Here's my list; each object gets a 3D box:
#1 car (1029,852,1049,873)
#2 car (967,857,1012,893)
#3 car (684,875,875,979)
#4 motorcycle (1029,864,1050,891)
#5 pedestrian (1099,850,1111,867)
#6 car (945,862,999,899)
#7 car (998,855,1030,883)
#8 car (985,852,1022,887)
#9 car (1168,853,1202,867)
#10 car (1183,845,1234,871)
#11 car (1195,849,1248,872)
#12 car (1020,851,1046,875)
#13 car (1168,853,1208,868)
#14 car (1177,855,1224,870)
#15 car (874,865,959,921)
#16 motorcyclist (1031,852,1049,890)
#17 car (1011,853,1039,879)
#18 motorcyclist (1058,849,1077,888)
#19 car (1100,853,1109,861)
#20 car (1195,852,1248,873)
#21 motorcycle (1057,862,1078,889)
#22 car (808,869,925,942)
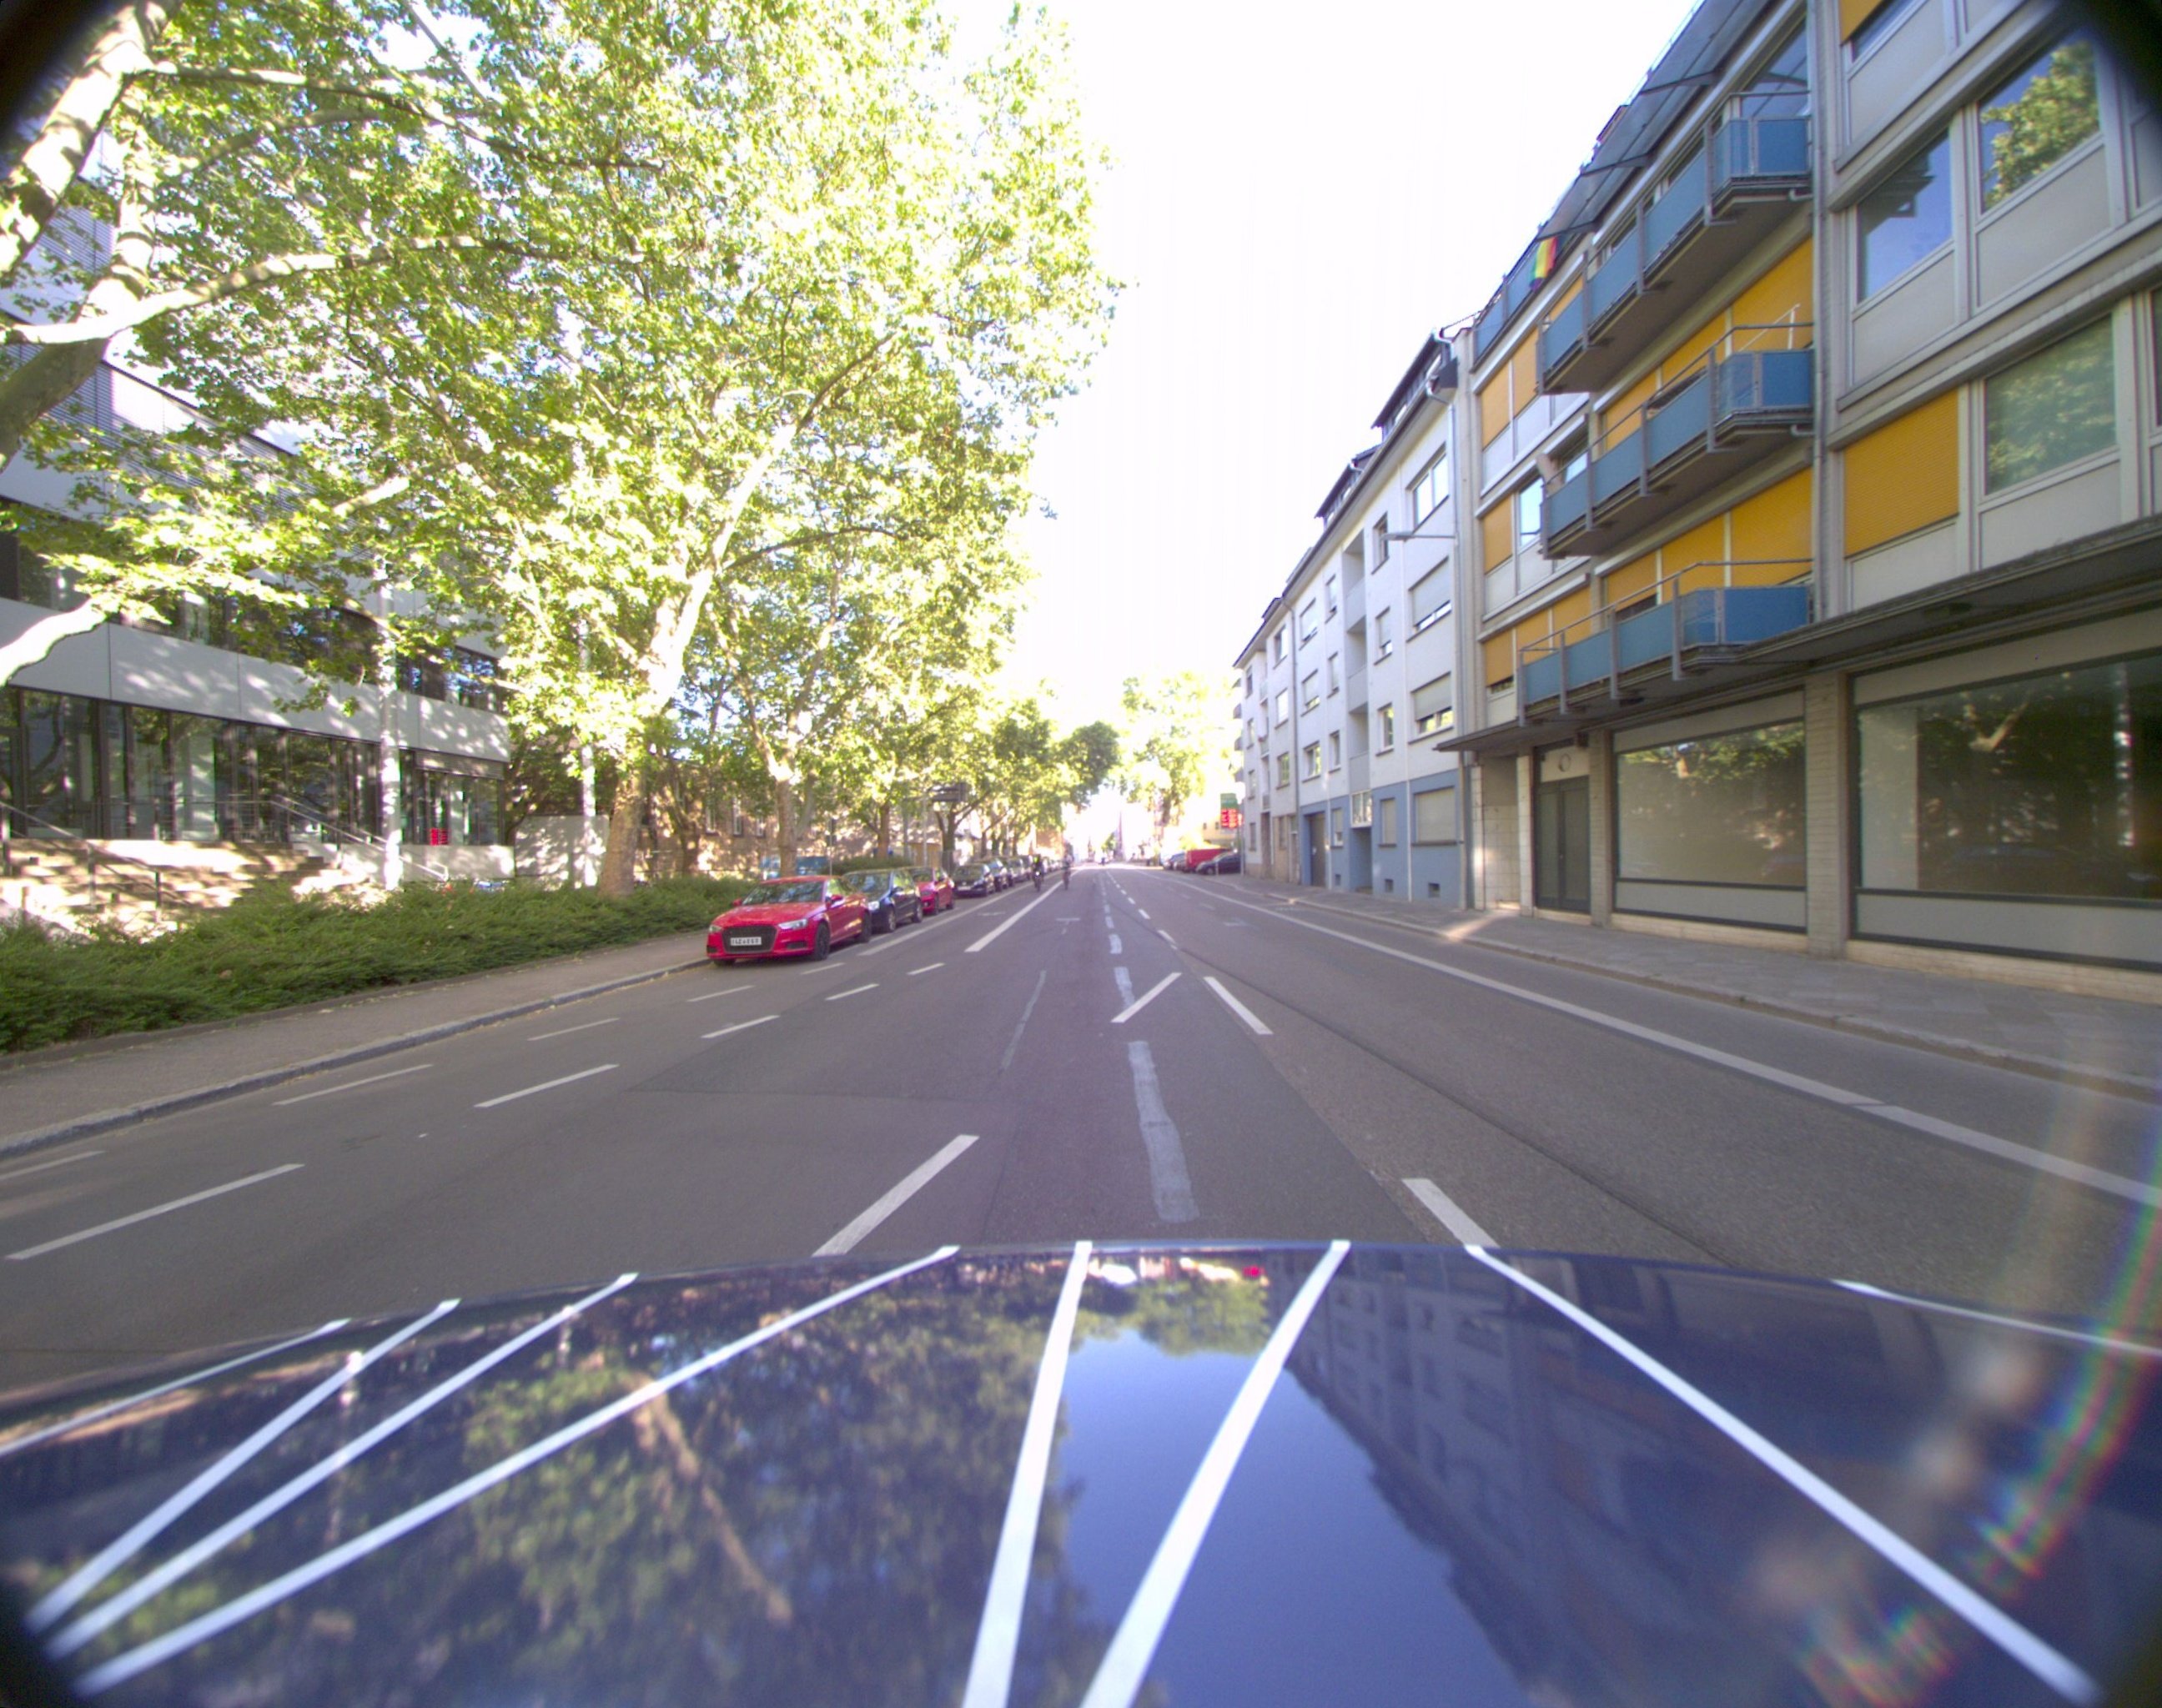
[{"bbox_3d":[-3.905,0.804,71.006,1.599,1.835,3.769,-2,1,0],"label":"car"},{"bbox_3d":[-4.521,0.991,38.110,1.634,1.569,4.231,-2,1,0],"label":"car"},{"bbox_3d":[-5.165,1.180,13.661,1.794,1.384,3.999,-2,1,0],"label":"car"},{"bbox_3d":[-1.937,1.096,35.666,0.799,1.125,2.236,-2,1,1],"label":"motorcycle"},{"bbox_3d":[2.527,0.502,80.432,0.894,1.727,0.827,-3,1,-41],"label":"pedestrian"},{"bbox_3d":[-4.696,1.111,33.240,1.692,1.414,3.923,-2,1,0],"label":"car"},{"bbox_3d":[-4.356,0.938,50.115,1.634,1.604,4.576,-2,1,0],"label":"car"},{"bbox_3d":[-4.458,0.852,44.243,1.634,1.781,4.576,-2,1,0],"label":"car"},{"bbox_3d":[10.321,0.580,75.469,3.271,1.238,1.345,-2,1,2],"label":"car"},{"bbox_3d":[10.058,0.320,59.945,3.688,1.897,1.490,-2,-1,-1],"label":"car"},{"bbox_3d":[10.532,0.484,57.100,3.687,1.503,1.490,-2,1,2],"label":"car"},{"bbox_3d":[-4.172,0.720,66.095,1.915,1.940,3.769,-2,1,0],"label":"car"},{"bbox_3d":[10.266,0.626,73.032,3.687,1.238,1.345,-2,1,2],"label":"car"},{"bbox_3d":[9.810,0.692,62.591,3.687,1.122,1.345,-2,1,2],"label":"car"},{"bbox_3d":[-5.017,1.132,23.688,1.692,1.441,3.923,-2,1,1],"label":"car"},{"bbox_3d":[-1.933,0.803,35.729,0.719,1.733,0.751,-2,1,1],"label":"motorcyclist"},{"bbox_3d":[-4.040,0.813,55.242,1.634,1.725,3.769,-2,1,0],"label":"car"},{"bbox_3d":[-0.647,0.689,36.425,0.833,1.778,0.913,-2,1,1],"label":"motorcyclist"},{"bbox_3d":[4.623,0.514,150.032,1.752,1.423,4.266,-2,0,2],"label":"car"},{"bbox_3d":[10.089,0.589,54.732,3.508,1.380,1.490,-2,1,2],"label":"car"},{"bbox_3d":[-0.638,1.008,36.476,0.865,1.161,1.929,-2,1,1],"label":"motorcycle"},{"bbox_3d":[-5.054,1.162,18.414,1.669,1.410,3.697,-2,1,1],"label":"car"}]
